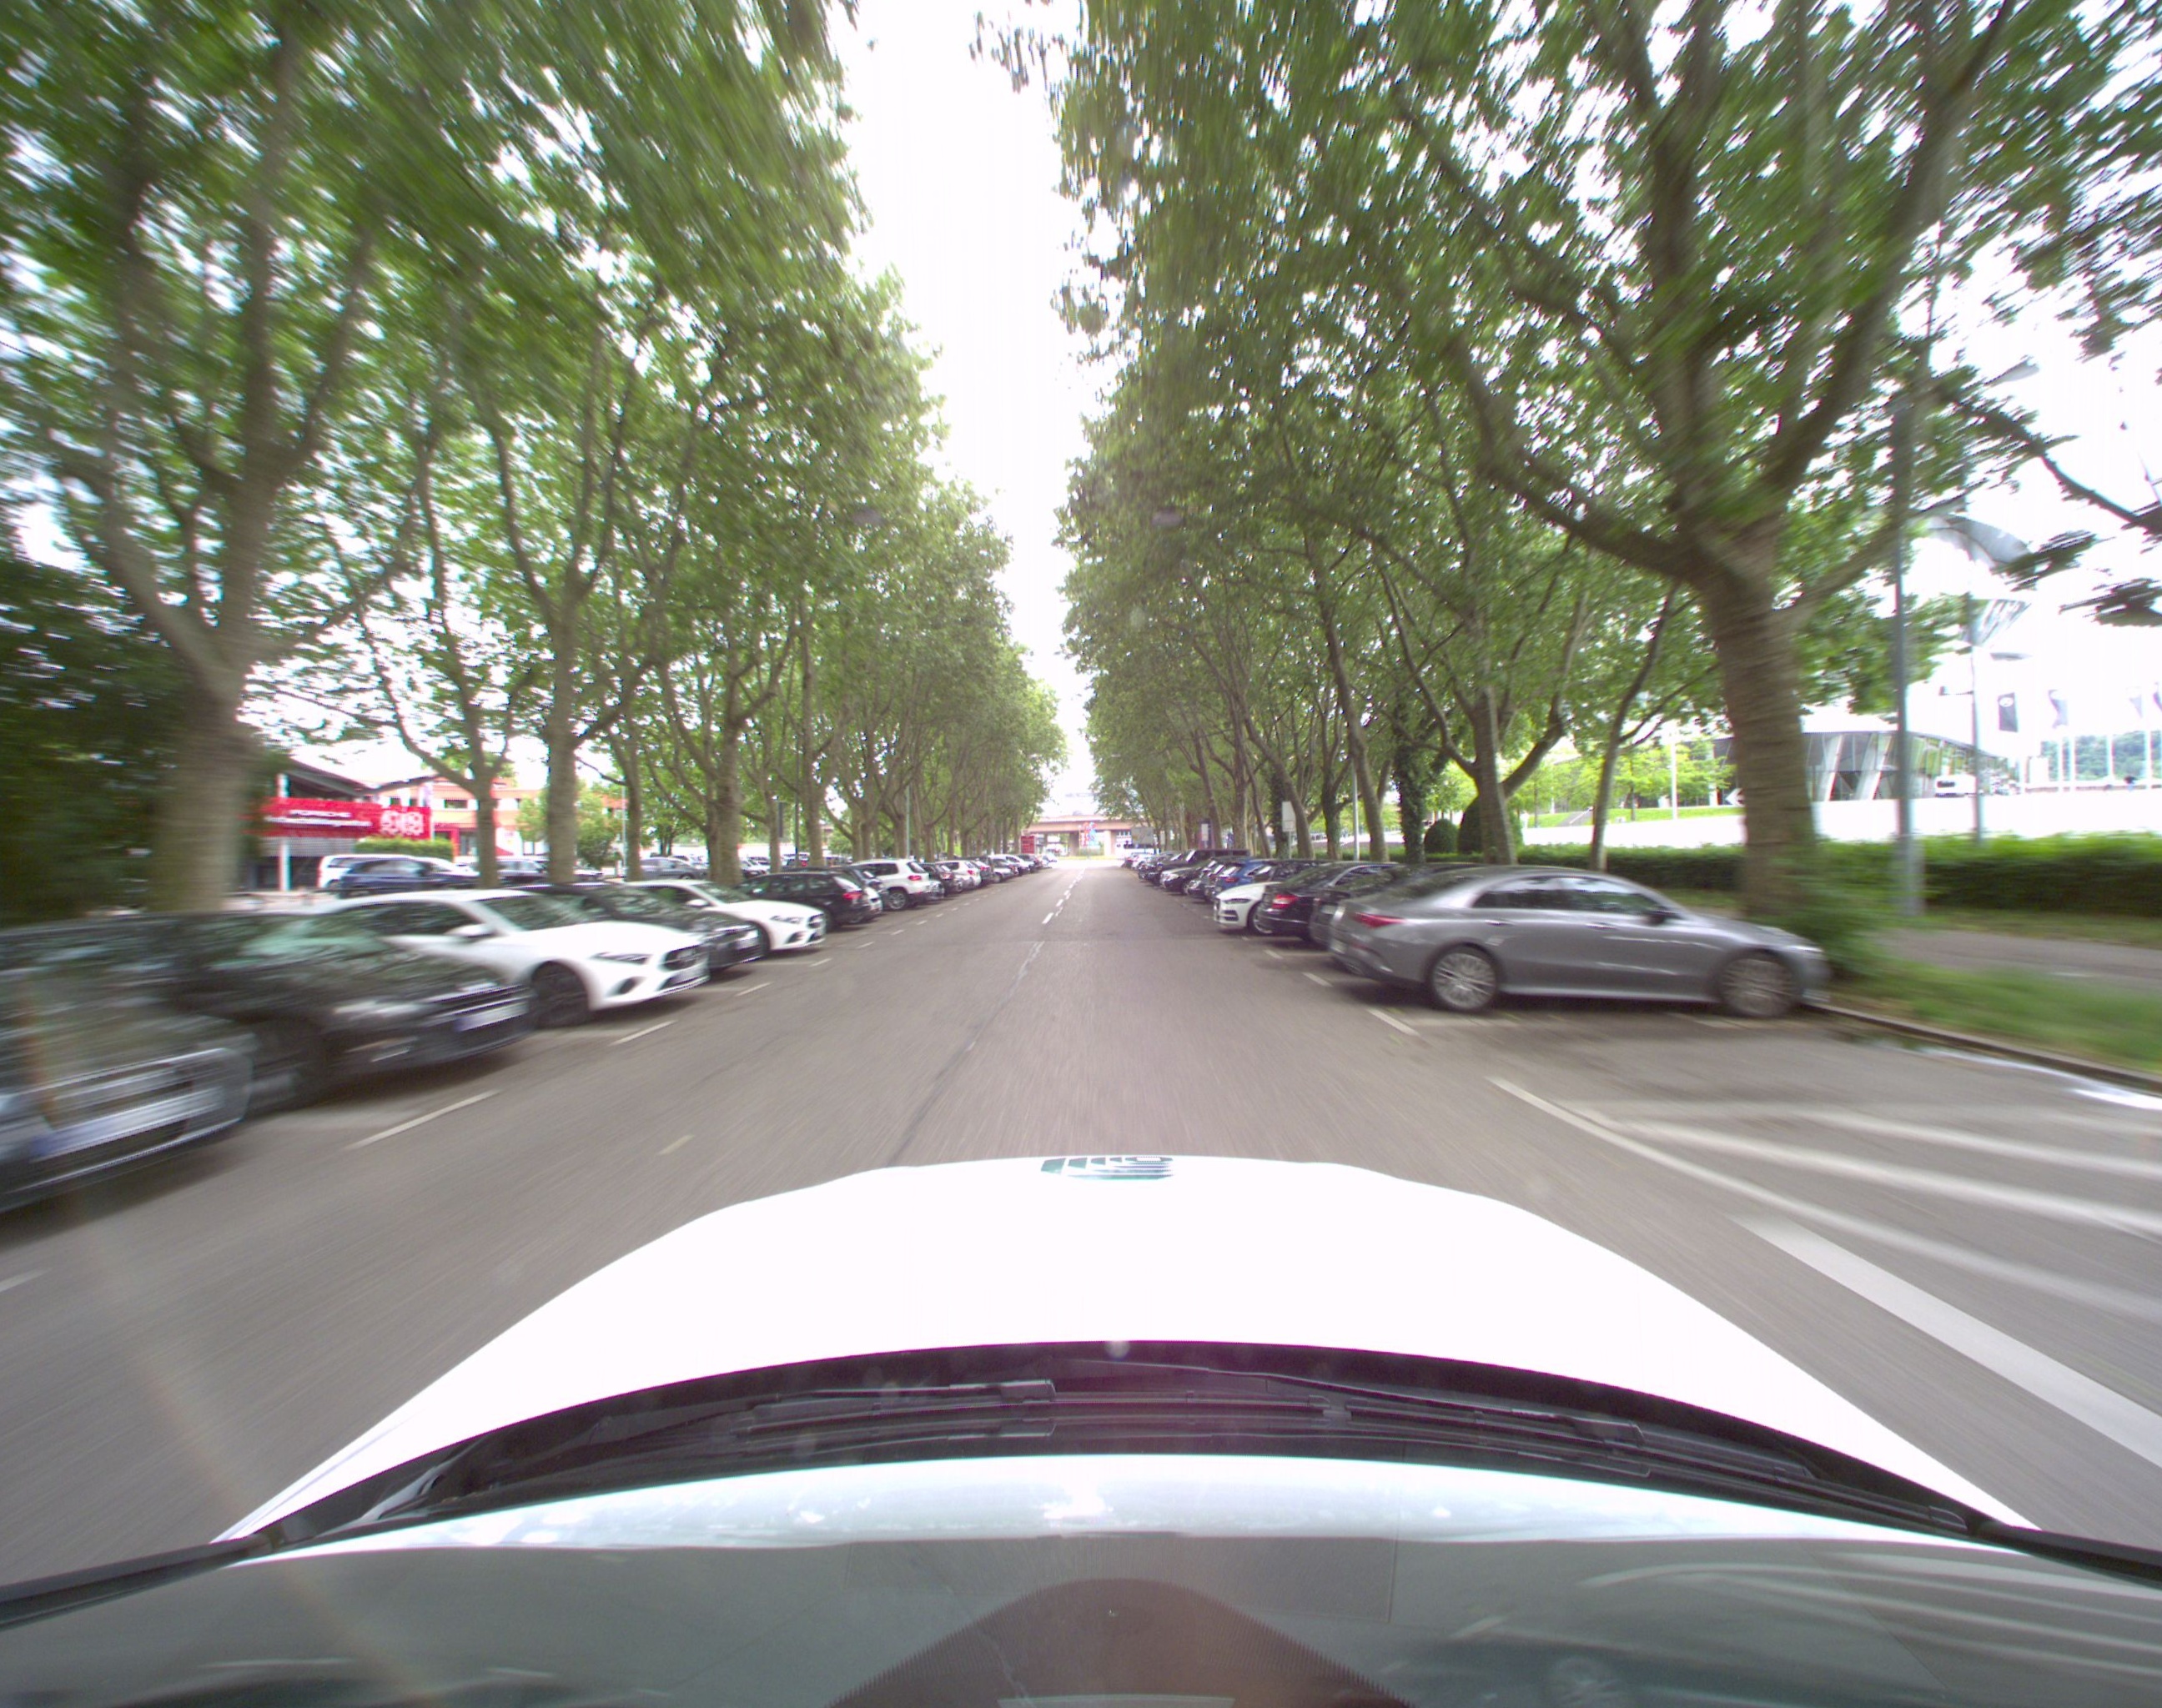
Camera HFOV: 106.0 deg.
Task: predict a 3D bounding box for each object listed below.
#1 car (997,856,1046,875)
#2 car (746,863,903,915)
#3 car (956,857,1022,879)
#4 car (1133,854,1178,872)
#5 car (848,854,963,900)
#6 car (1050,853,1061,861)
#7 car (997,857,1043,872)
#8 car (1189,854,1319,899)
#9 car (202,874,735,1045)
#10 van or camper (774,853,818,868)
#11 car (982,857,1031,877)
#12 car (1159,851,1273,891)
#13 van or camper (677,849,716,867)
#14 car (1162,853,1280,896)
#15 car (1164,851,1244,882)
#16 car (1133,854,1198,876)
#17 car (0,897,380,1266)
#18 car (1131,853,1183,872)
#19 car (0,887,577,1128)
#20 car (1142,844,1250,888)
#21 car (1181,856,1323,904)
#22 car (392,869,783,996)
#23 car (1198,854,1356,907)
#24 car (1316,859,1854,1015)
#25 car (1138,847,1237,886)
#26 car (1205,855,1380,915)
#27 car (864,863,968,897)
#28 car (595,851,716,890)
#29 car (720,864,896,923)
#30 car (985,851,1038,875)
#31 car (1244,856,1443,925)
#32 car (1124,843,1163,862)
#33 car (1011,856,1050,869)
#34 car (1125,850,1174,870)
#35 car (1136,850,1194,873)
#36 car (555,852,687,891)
[{"bbox_3d":[-5.346,1.050,74.003,4.112,1.452,2.015,-4,0,2],"label":"car"},{"bbox_3d":[-7.483,0.991,24.023,3.972,1.453,1.856,0,-1,2],"label":"car"},{"bbox_3d":[-6.610,1.012,58.959,4.448,1.369,1.880,-3,0,0],"label":"car"},{"bbox_3d":[6.291,0.746,68.889,3.630,1.427,1.664,0,0,-2],"label":"car"},{"bbox_3d":[-6.679,0.875,31.297,3.972,1.682,1.856,0,-1,2],"label":"car"},{"bbox_3d":[-4.817,0.585,153.251,1.836,1.510,4.014,0,-1,0],"label":"car"},{"bbox_3d":[-5.690,0.966,76.432,4.177,1.354,1.966,0,-1,-2],"label":"car"},{"bbox_3d":[6.012,0.763,28.574,4.185,1.518,1.784,0,0,-3],"label":"car"},{"bbox_3d":[-6.410,1.060,8.927,4.394,1.424,1.775,-3,0,-1],"label":"car"},{"bbox_3d":[-32.843,0.792,93.864,4.307,1.709,2.131,0,-1,0],"label":"van or camper"},{"bbox_3d":[-6.112,1.047,66.353,3.782,1.472,1.759,-3,0,-10],"label":"car"},{"bbox_3d":[5.519,0.690,33.750,4.475,1.572,2.050,0,0,4],"label":"car"},{"bbox_3d":[-44.885,0.451,95.106,1.987,2.014,5.302,0,-1,0],"label":"van or camper"},{"bbox_3d":[5.256,0.762,30.964,4.181,1.518,1.785,1,0,0],"label":"car"},{"bbox_3d":[7.433,0.744,49.402,4.488,1.796,2.044,0,0,-6],"label":"car"},{"bbox_3d":[5.782,0.728,56.160,4.330,1.413,1.926,0,0,1],"label":"car"},{"bbox_3d":[-6.643,1.077,4.039,4.397,1.395,2.046,-3,0,-3],"label":"car"},{"bbox_3d":[6.163,0.694,66.212,4.133,1.458,1.727,0,0,1],"label":"car"},{"bbox_3d":[-6.686,1.095,6.287,4.396,1.395,1.723,-3,0,-2],"label":"car"},{"bbox_3d":[5.072,0.518,36.304,4.484,1.866,2.046,0,0,-3],"label":"car"},{"bbox_3d":[5.426,0.819,26.213,4.185,1.456,1.784,0,0,-3],"label":"car"},{"bbox_3d":[-6.795,1.048,11.545,4.391,1.417,1.784,-3,0,1],"label":"car"},{"bbox_3d":[5.656,0.761,23.833,4.185,1.456,1.784,0,0,-3],"label":"car"},{"bbox_3d":[4.979,0.780,8.570,4.567,1.417,1.720,0,0,4],"label":"car"},{"bbox_3d":[5.023,0.575,38.949,4.480,1.796,2.048,0,0,0],"label":"car"},{"bbox_3d":[5.392,0.780,21.092,4.008,1.447,1.911,0,0,-5],"label":"car"},{"bbox_3d":[-6.842,1.060,34.086,3.975,1.369,1.843,0,-1,-1],"label":"car"},{"bbox_3d":[-21.551,0.811,41.422,4.928,1.797,2.182,-1,0,-2],"label":"car"},{"bbox_3d":[-7.106,1.012,21.471,3.972,1.453,1.856,0,-1,2],"label":"car"},{"bbox_3d":[-5.830,0.729,69.051,4.307,1.810,1.866,-3,0,-3],"label":"car"},{"bbox_3d":[5.876,0.802,18.598,4.001,1.447,1.784,0,0,1],"label":"car"},{"bbox_3d":[6.492,-0.157,85.243,3.972,2.013,2.001,0,0,1],"label":"car"},{"bbox_3d":[-5.528,0.980,89.206,3.975,1.385,1.914,0,-1,4],"label":"car"},{"bbox_3d":[6.182,0.524,73.878,4.333,1.761,1.925,1,0,-1],"label":"car"},{"bbox_3d":[6.506,0.587,63.675,4.333,1.745,1.836,0,0,-1],"label":"car"},{"bbox_3d":[-21.737,0.818,38.655,4.928,1.797,2.182,0,-1,-2],"label":"car"}]
